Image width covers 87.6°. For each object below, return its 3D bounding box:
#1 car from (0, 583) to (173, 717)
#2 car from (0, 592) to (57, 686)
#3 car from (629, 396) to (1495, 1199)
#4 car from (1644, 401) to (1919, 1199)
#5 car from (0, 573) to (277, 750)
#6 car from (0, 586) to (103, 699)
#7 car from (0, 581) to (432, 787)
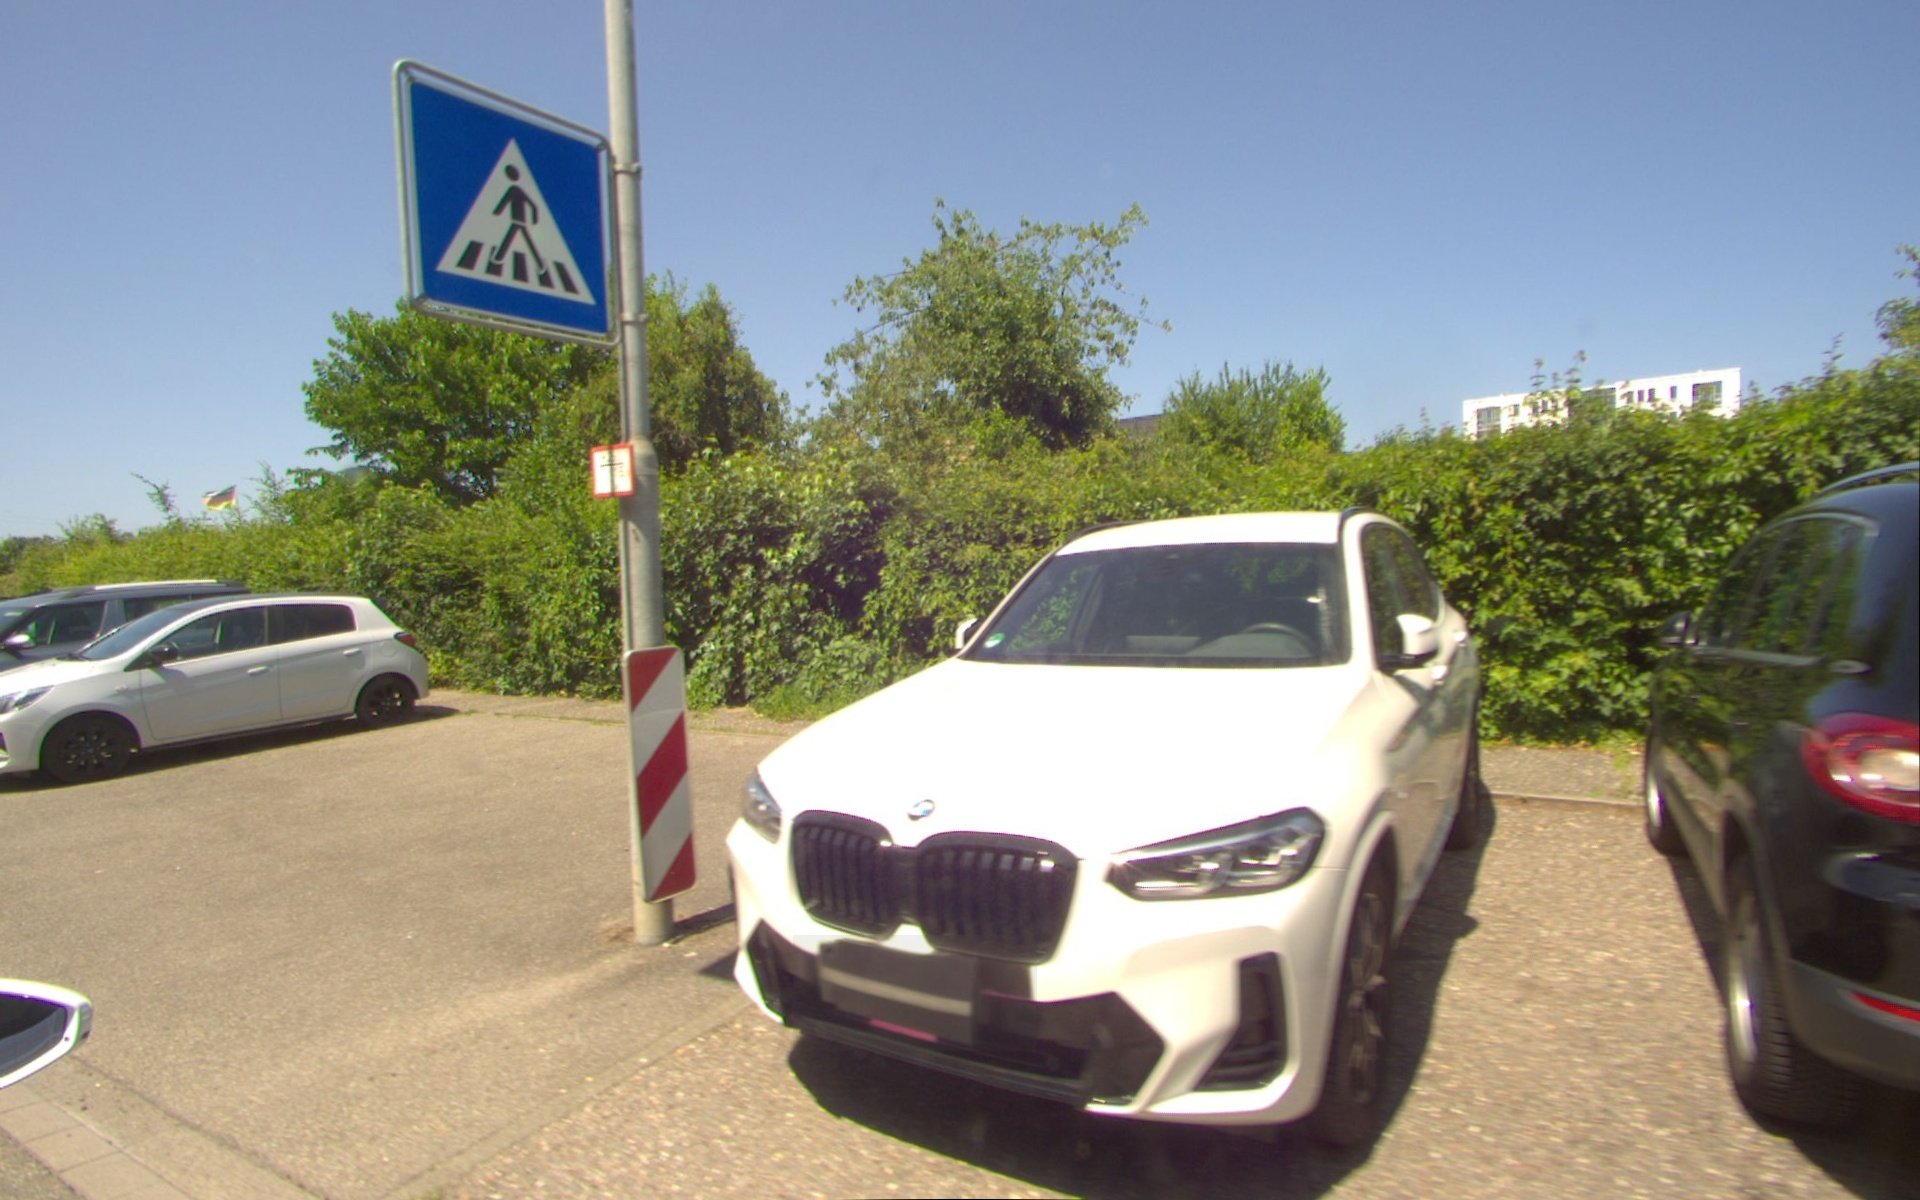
[{"bbox_3d":[-12.449,0.667,12.713,1.515,1.549,3.447,0,4,27],"label":"car"},{"bbox_3d":[-17.096,0.706,16.190,1.566,1.525,3.375,1,3,35],"label":"car"},{"bbox_3d":[1.046,0.434,4.220,1.825,1.753,4.442,-1,2,32],"label":"car"},{"bbox_3d":[3.368,0.409,3.155,1.740,1.709,3.964,0,2,31],"label":"car"},{"bbox_3d":[-10.119,0.642,10.989,1.637,1.664,3.954,0,4,26],"label":"car"},{"bbox_3d":[-14.950,0.712,14.041,1.834,1.544,3.957,0,4,26],"label":"car"},{"bbox_3d":[-7.483,0.657,9.828,1.588,1.471,3.675,0,4,35],"label":"car"}]
